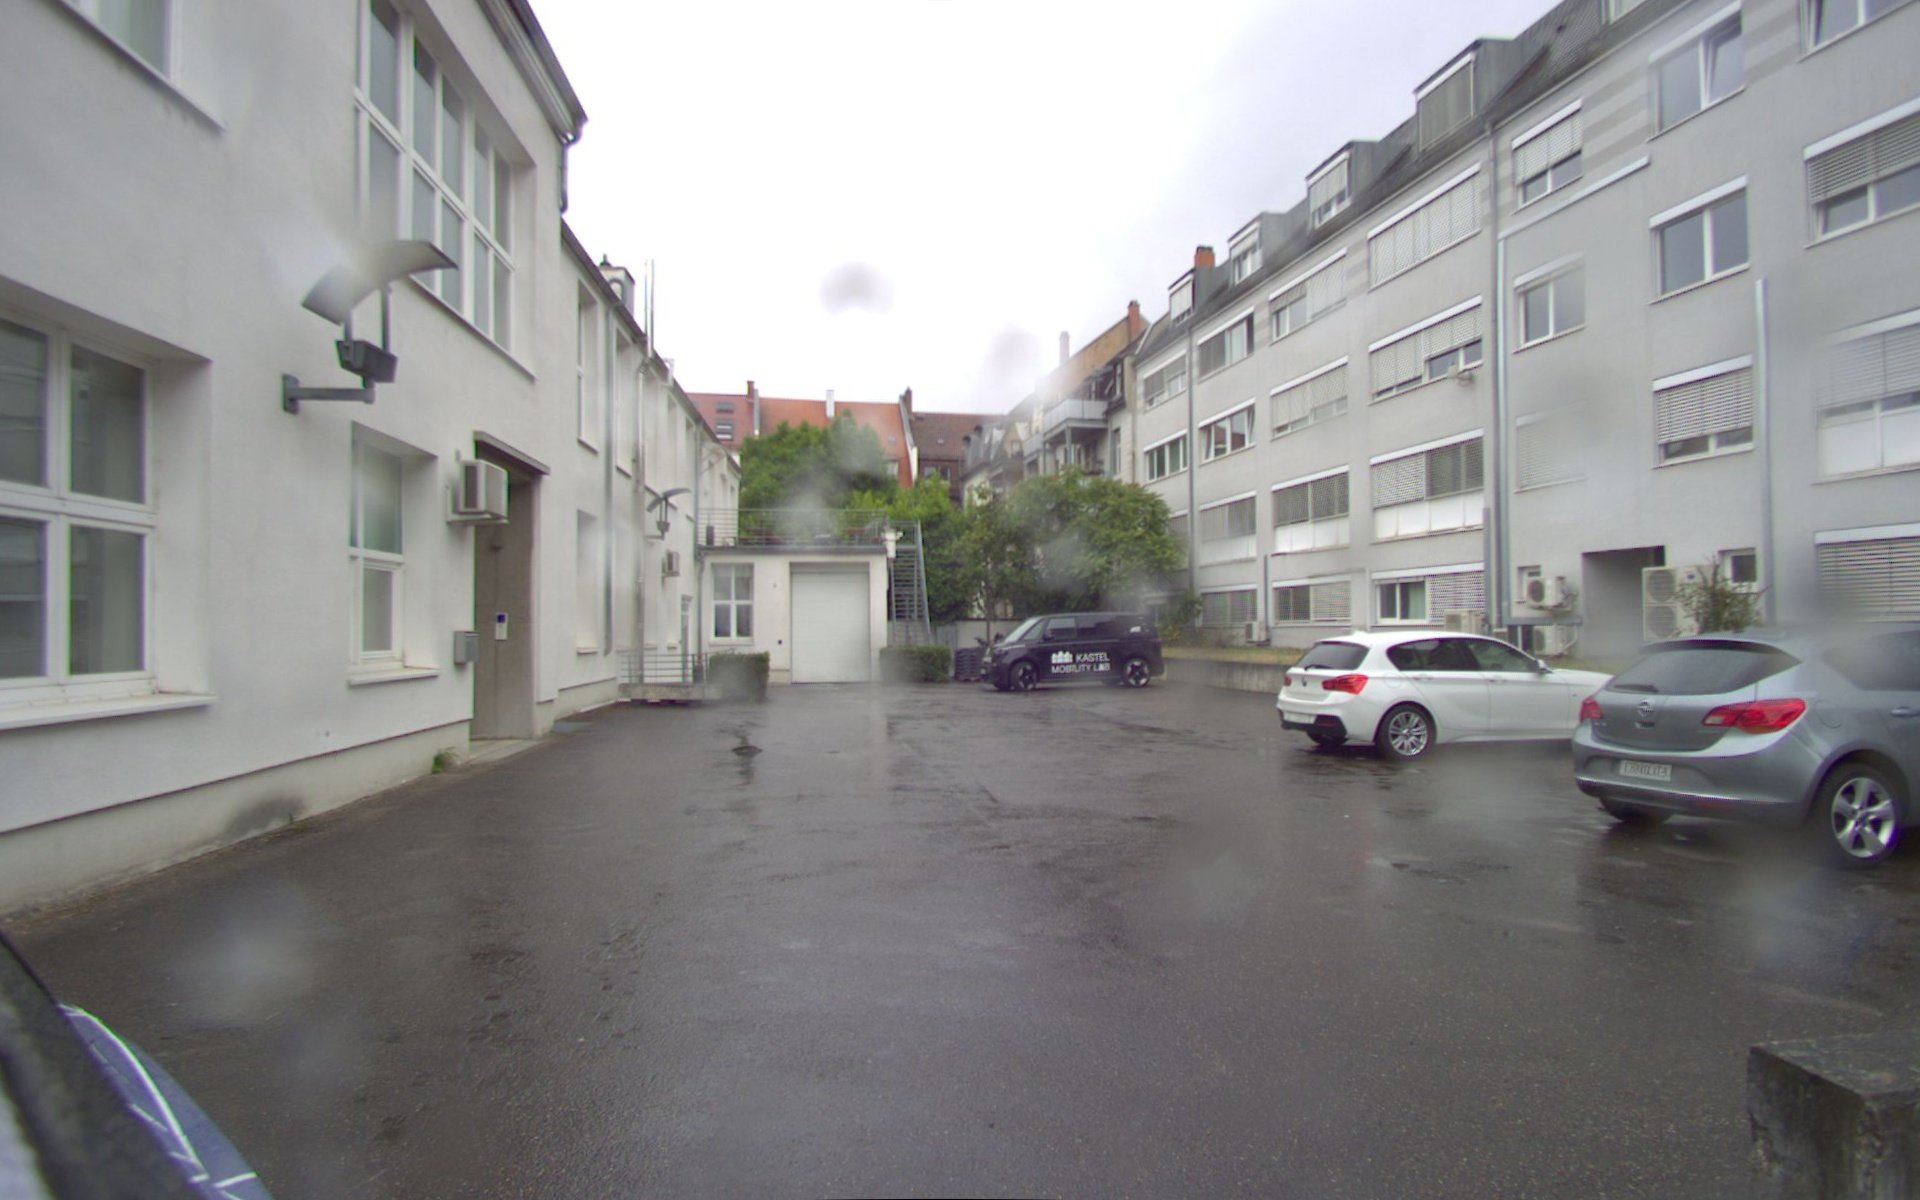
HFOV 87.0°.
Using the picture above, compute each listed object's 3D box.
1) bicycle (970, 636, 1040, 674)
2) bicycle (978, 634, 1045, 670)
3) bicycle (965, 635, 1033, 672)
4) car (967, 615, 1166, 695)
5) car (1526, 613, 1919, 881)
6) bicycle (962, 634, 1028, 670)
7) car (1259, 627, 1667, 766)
[{"bbox_3d":[1.505,1.852,34.096,2.285,1.195,0.644,-1,0,-5],"label":"bicycle"},{"bbox_3d":[1.808,1.836,35.595,2.285,1.195,0.644,-1,0,-5],"label":"bicycle"},{"bbox_3d":[1.339,1.847,34.883,2.285,1.195,0.644,-1,0,-5],"label":"bicycle"},{"bbox_3d":[2.661,1.370,25.751,4.554,1.851,1.993,-1,-3,-13],"label":"car"},{"bbox_3d":[6.413,0.858,6.960,4.111,1.495,1.826,0,-3,-10],"label":"car"},{"bbox_3d":[1.248,1.838,36.050,2.285,1.195,0.644,-1,0,-5],"label":"bicycle"},{"bbox_3d":[5.913,1.070,12.098,4.085,1.444,1.757,0,-1,-10],"label":"car"}]
